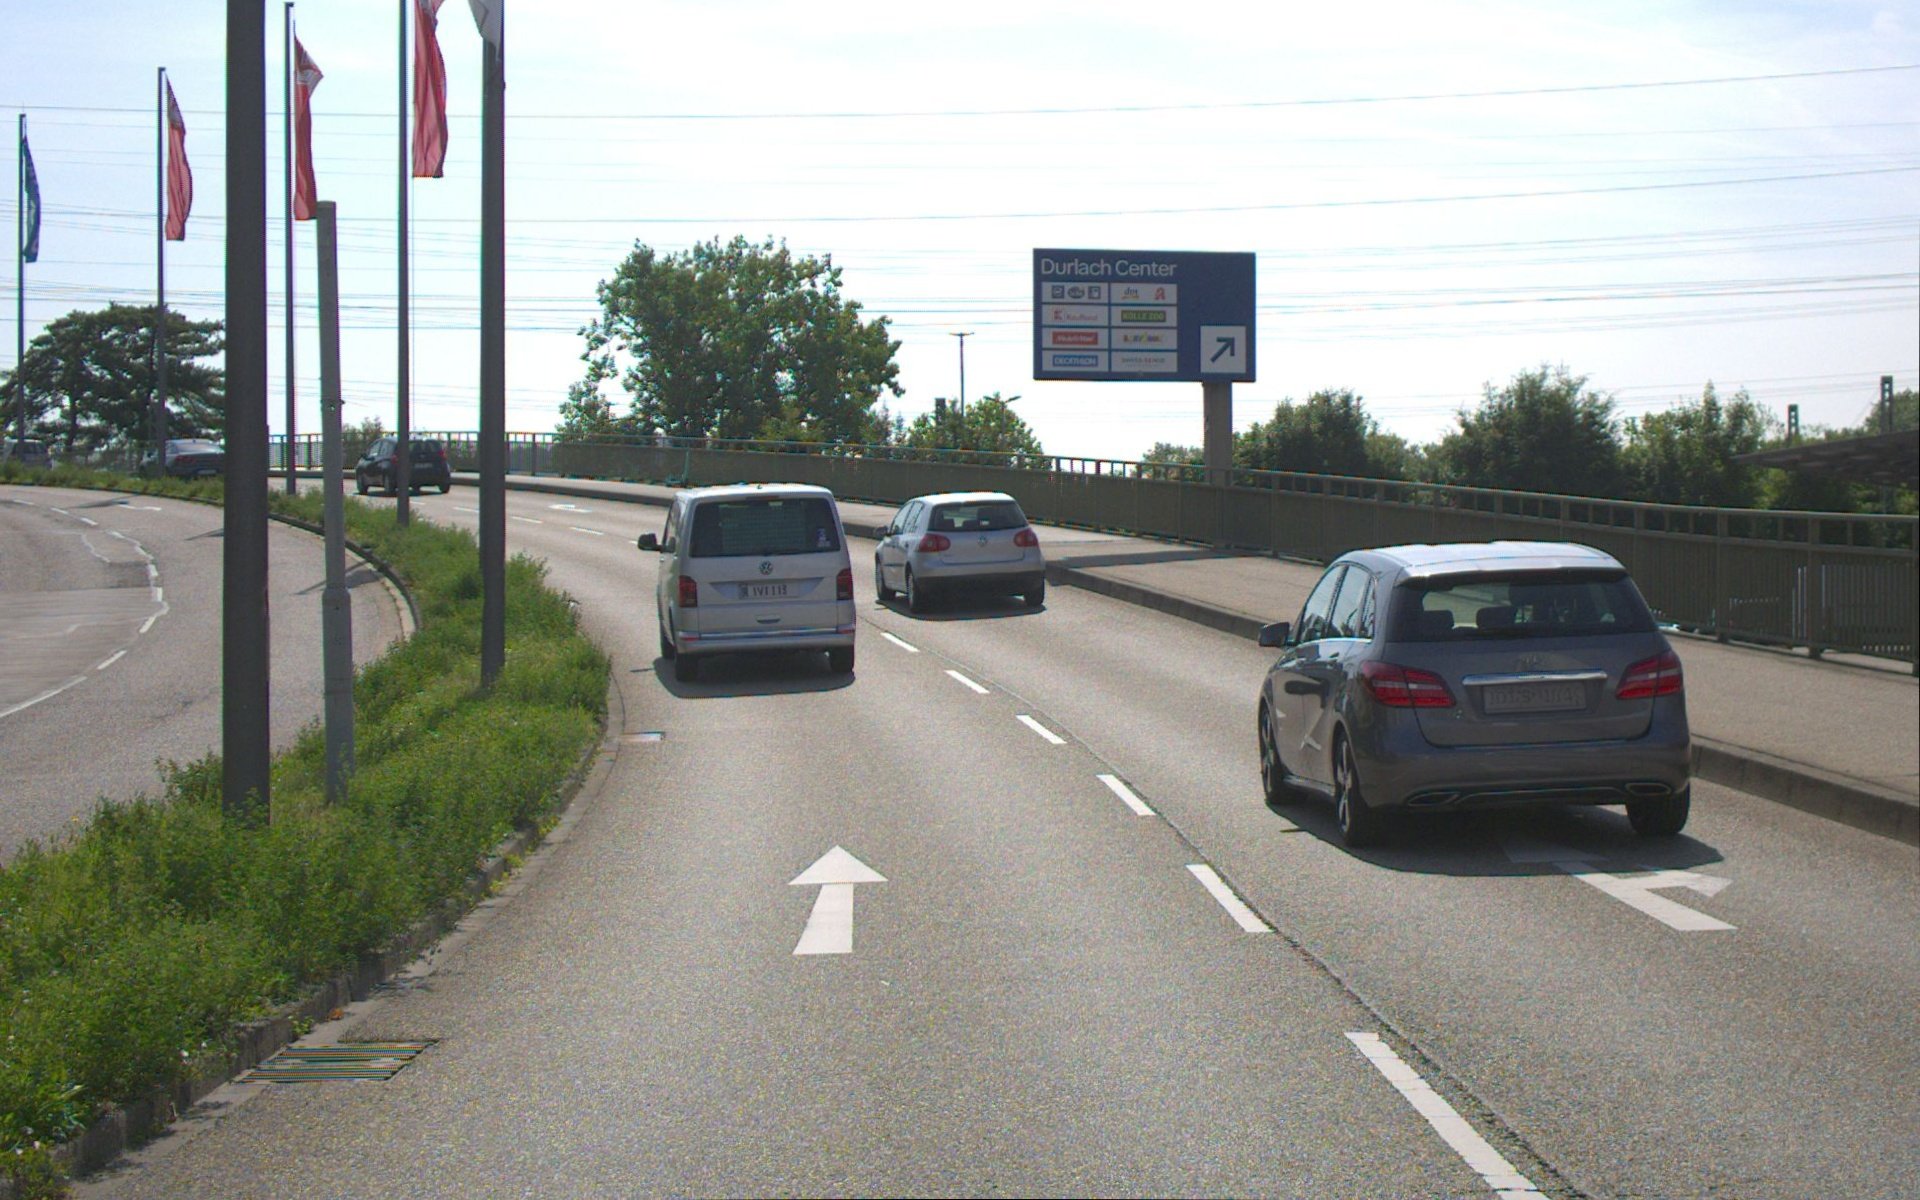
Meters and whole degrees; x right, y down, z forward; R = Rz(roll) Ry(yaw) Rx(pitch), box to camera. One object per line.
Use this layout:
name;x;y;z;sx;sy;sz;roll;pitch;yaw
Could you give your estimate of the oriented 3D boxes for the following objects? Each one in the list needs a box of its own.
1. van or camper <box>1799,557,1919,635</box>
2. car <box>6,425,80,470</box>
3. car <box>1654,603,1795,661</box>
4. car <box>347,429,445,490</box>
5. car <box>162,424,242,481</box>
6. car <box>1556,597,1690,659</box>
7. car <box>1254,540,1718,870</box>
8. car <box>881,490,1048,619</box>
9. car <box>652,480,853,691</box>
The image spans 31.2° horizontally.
van or camper;28.521;-0.081;104.616;5.418;2.171;2.106;2;-1;-15
car;-33.571;-5.575;125.830;1.531;1.475;3.425;1;0;-35
car;19.956;0.843;89.906;1.993;1.415;4.001;2;-1;-14
car;-14.970;-3.742;91.130;1.531;1.474;3.597;0;4;-27
car;-21.768;-4.220;98.674;1.530;1.475;3.248;1;0;-25
car;17.252;0.729;89.645;1.883;1.514;4.001;2;-1;-14
car;2.755;0.478;18.910;1.773;1.533;4.138;-2;2;-2
car;0.013;-0.634;45.092;1.666;1.409;3.684;-3;4;-7
car;-2.200;-0.216;36.421;1.916;1.968;4.298;-2;3;-3
